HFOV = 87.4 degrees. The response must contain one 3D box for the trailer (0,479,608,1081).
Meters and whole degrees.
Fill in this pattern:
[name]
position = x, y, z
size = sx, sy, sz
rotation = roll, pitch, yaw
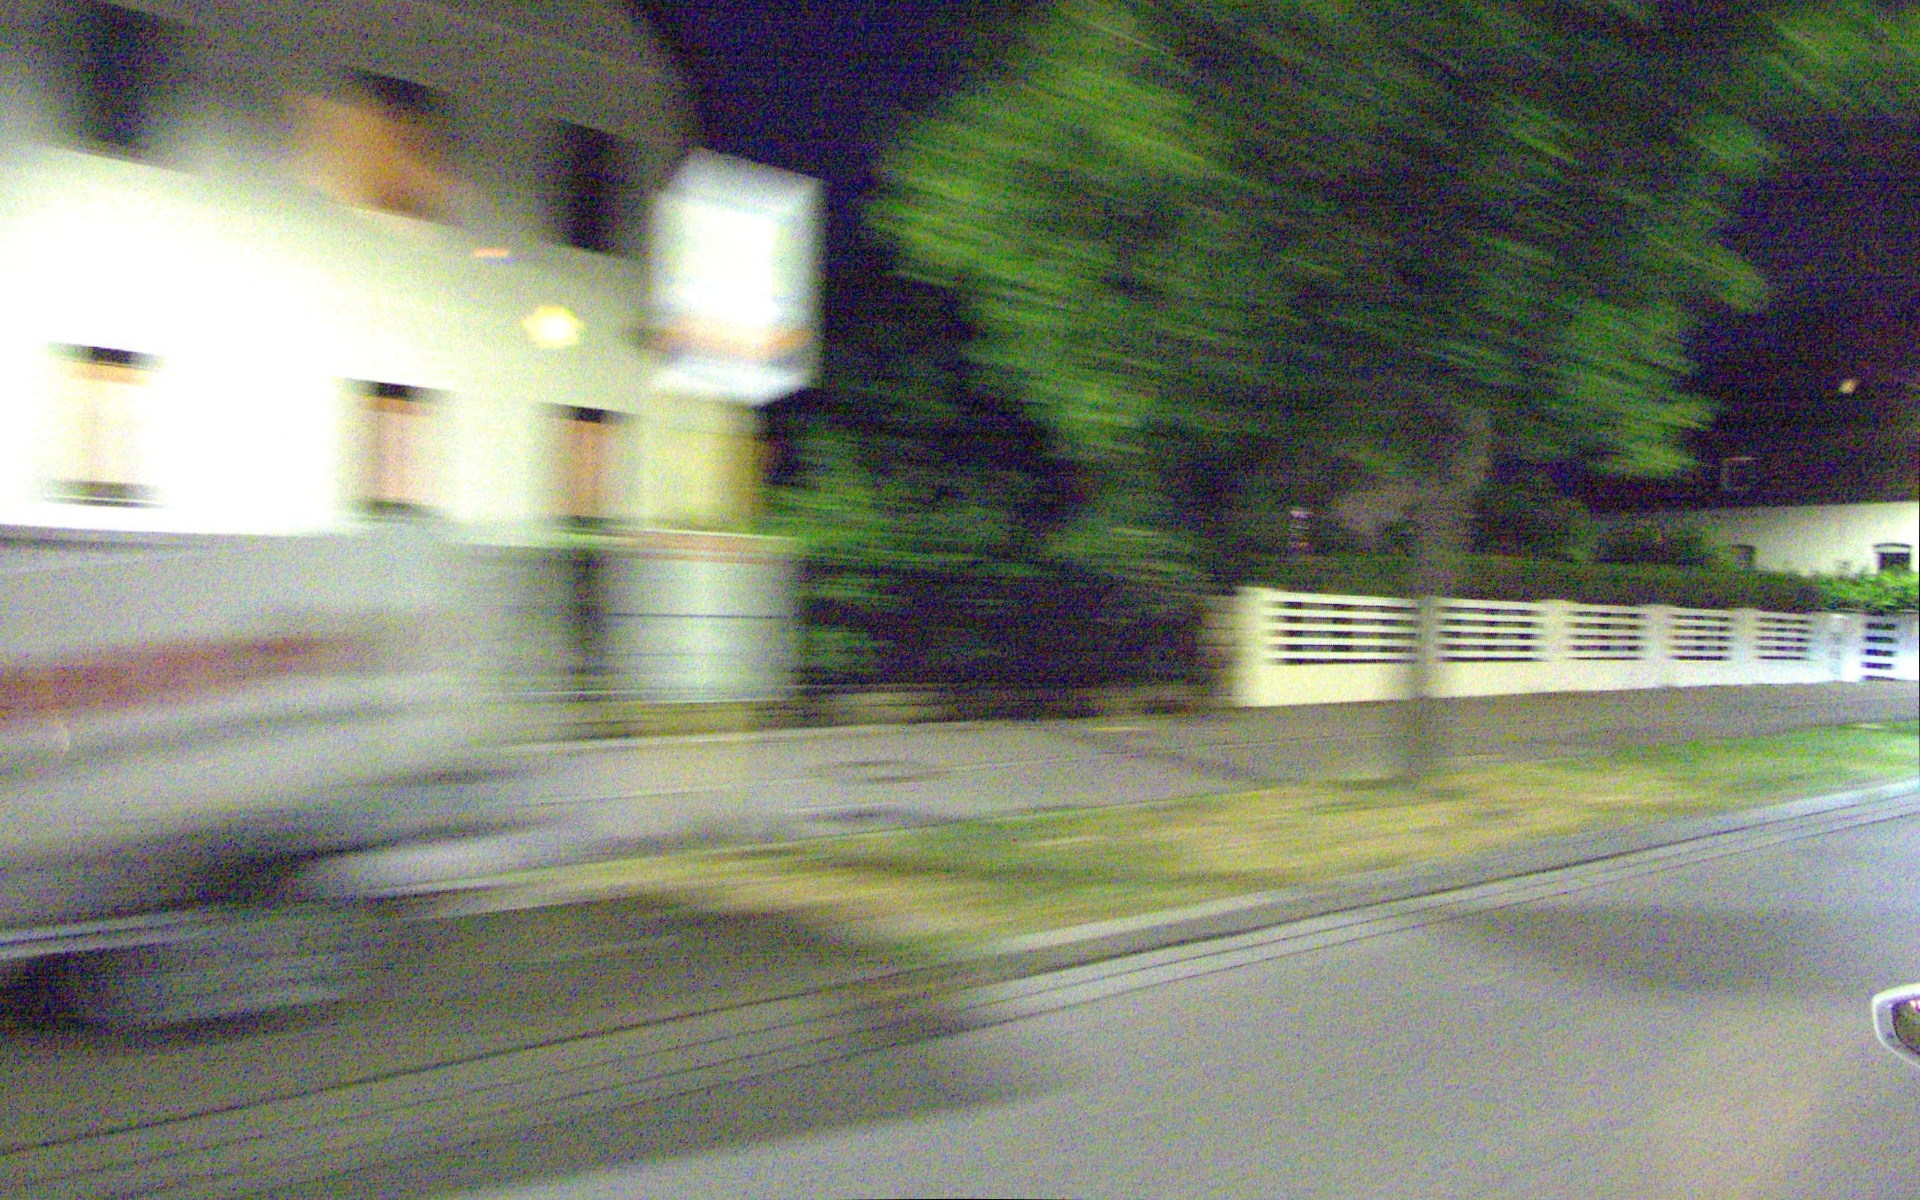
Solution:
[trailer]
position = -3.097, 0.473, 3.427
size = 3.383, 1.711, 1.442
rotation = 1, 3, -28
